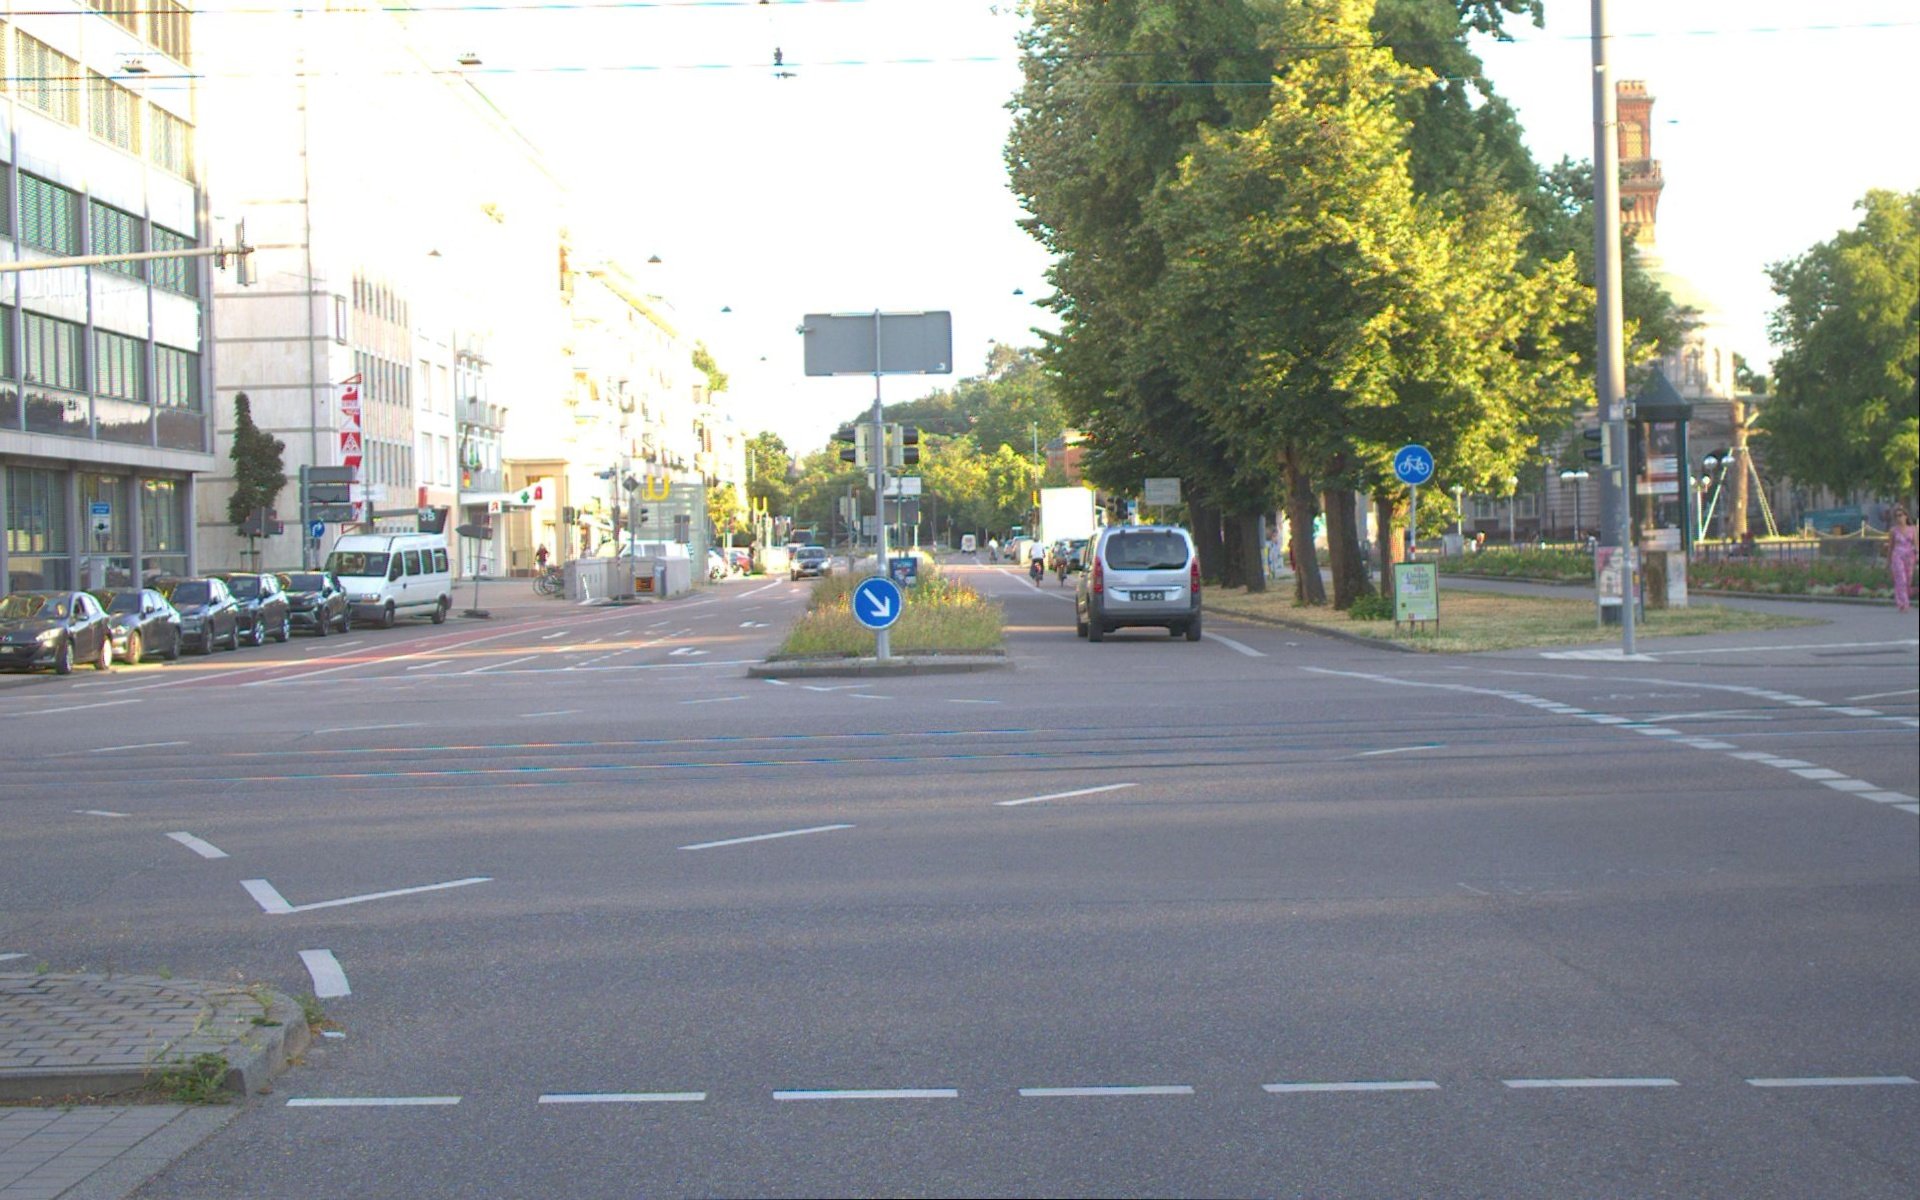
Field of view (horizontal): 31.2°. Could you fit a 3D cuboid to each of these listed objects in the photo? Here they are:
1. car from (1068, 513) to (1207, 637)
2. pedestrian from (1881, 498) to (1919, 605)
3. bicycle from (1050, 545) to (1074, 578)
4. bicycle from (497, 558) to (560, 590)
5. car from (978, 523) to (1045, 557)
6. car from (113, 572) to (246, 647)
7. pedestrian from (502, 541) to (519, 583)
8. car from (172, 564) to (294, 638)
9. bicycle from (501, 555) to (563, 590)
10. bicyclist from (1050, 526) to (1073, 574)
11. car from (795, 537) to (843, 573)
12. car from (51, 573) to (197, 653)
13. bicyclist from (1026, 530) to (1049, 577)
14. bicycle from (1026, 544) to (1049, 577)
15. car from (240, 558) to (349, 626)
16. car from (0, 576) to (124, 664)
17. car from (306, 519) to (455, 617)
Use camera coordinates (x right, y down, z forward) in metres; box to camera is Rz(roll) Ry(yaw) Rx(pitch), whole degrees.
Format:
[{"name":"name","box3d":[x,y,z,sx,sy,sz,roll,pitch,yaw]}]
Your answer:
[{"name":"car","box3d":[2.836,-0.426,55.856,1.763,1.882,4.500,-2,1,-3]},{"name":"pedestrian","box3d":[14.710,-0.758,53.695,0.460,1.651,0.567,-2,1,-1]},{"name":"bicycle","box3d":[3.708,-1.406,125.019,0.746,1.140,2.505,-2,1,-1]},{"name":"bicycle","box3d":[-15.741,-0.957,125.318,2.205,1.108,0.619,-2,1,-2]},{"name":"car","box3d":[3.223,-3.753,215.443,3.986,2.007,2.000,-2,1,-4]},{"name":"car","box3d":[-16.583,0.189,73.177,1.920,1.459,4.000,-2,1,-1]},{"name":"pedestrian","box3d":[-21.545,-1.816,164.773,0.680,2.007,0.545,-2,1,0]},{"name":"car","box3d":[-16.562,-0.004,78.479,1.920,1.563,4.000,-2,1,-1]},{"name":"bicycle","box3d":[-16.027,-1.043,128.809,2.205,1.232,0.839,-2,1,-2]},{"name":"bicyclist","box3d":[3.695,-1.818,124.910,0.746,1.685,0.799,-2,1,-1]},{"name":"car","box3d":[-6.183,-1.992,151.356,1.863,1.514,4.000,-2,1,1]},{"name":"car","box3d":[-16.579,0.229,68.362,1.920,1.459,4.000,-2,1,-1]},{"name":"bicyclist","box3d":[2.816,-1.689,124.691,0.746,1.658,0.873,-2,1,-1]},{"name":"bicycle","box3d":[2.821,-1.449,125.250,0.746,1.140,2.505,-2,1,-1]},{"name":"car","box3d":[-16.364,-0.227,84.706,1.920,1.563,4.000,-2,1,-1]},{"name":"car","box3d":[-16.489,0.348,61.832,1.920,1.459,4.103,-2,1,-1]},{"name":"car","box3d":[-15.305,-0.886,91.157,2.002,2.469,5.865,-1,1,10]}]
